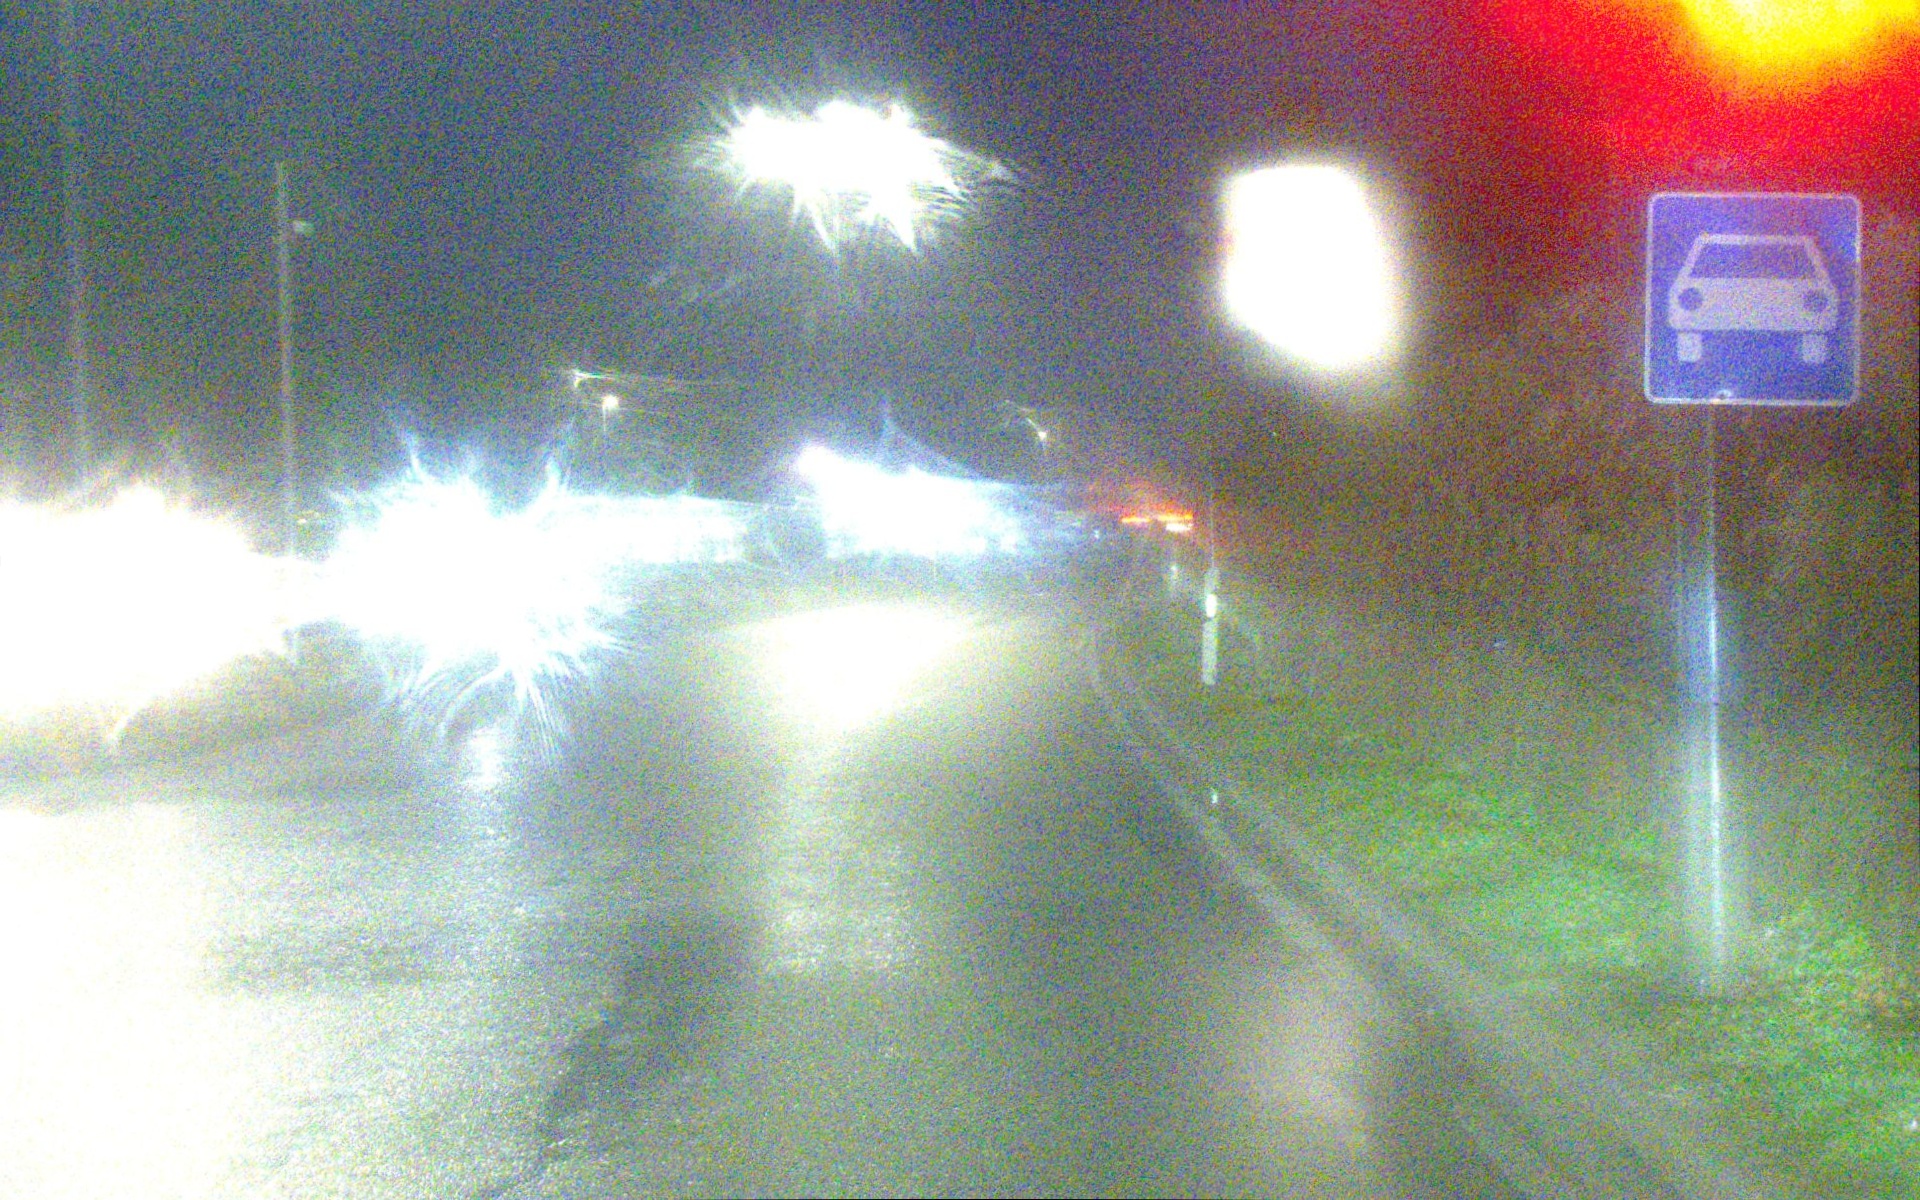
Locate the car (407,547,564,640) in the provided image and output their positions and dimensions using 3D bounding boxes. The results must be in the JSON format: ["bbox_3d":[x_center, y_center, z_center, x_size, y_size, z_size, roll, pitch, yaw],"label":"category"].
[{"bbox_3d":[-8.073,-0.113,58.844,1.708,1.529,4.599,0,0,5],"label":"car"}]

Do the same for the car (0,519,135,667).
[{"bbox_3d":[-10.255,-0.071,37.226,1.585,1.520,3.651,0,0,3],"label":"car"}]

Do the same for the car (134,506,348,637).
[{"bbox_3d":[-9.677,-0.379,46.551,1.718,1.697,4.142,0,0,5],"label":"car"}]
